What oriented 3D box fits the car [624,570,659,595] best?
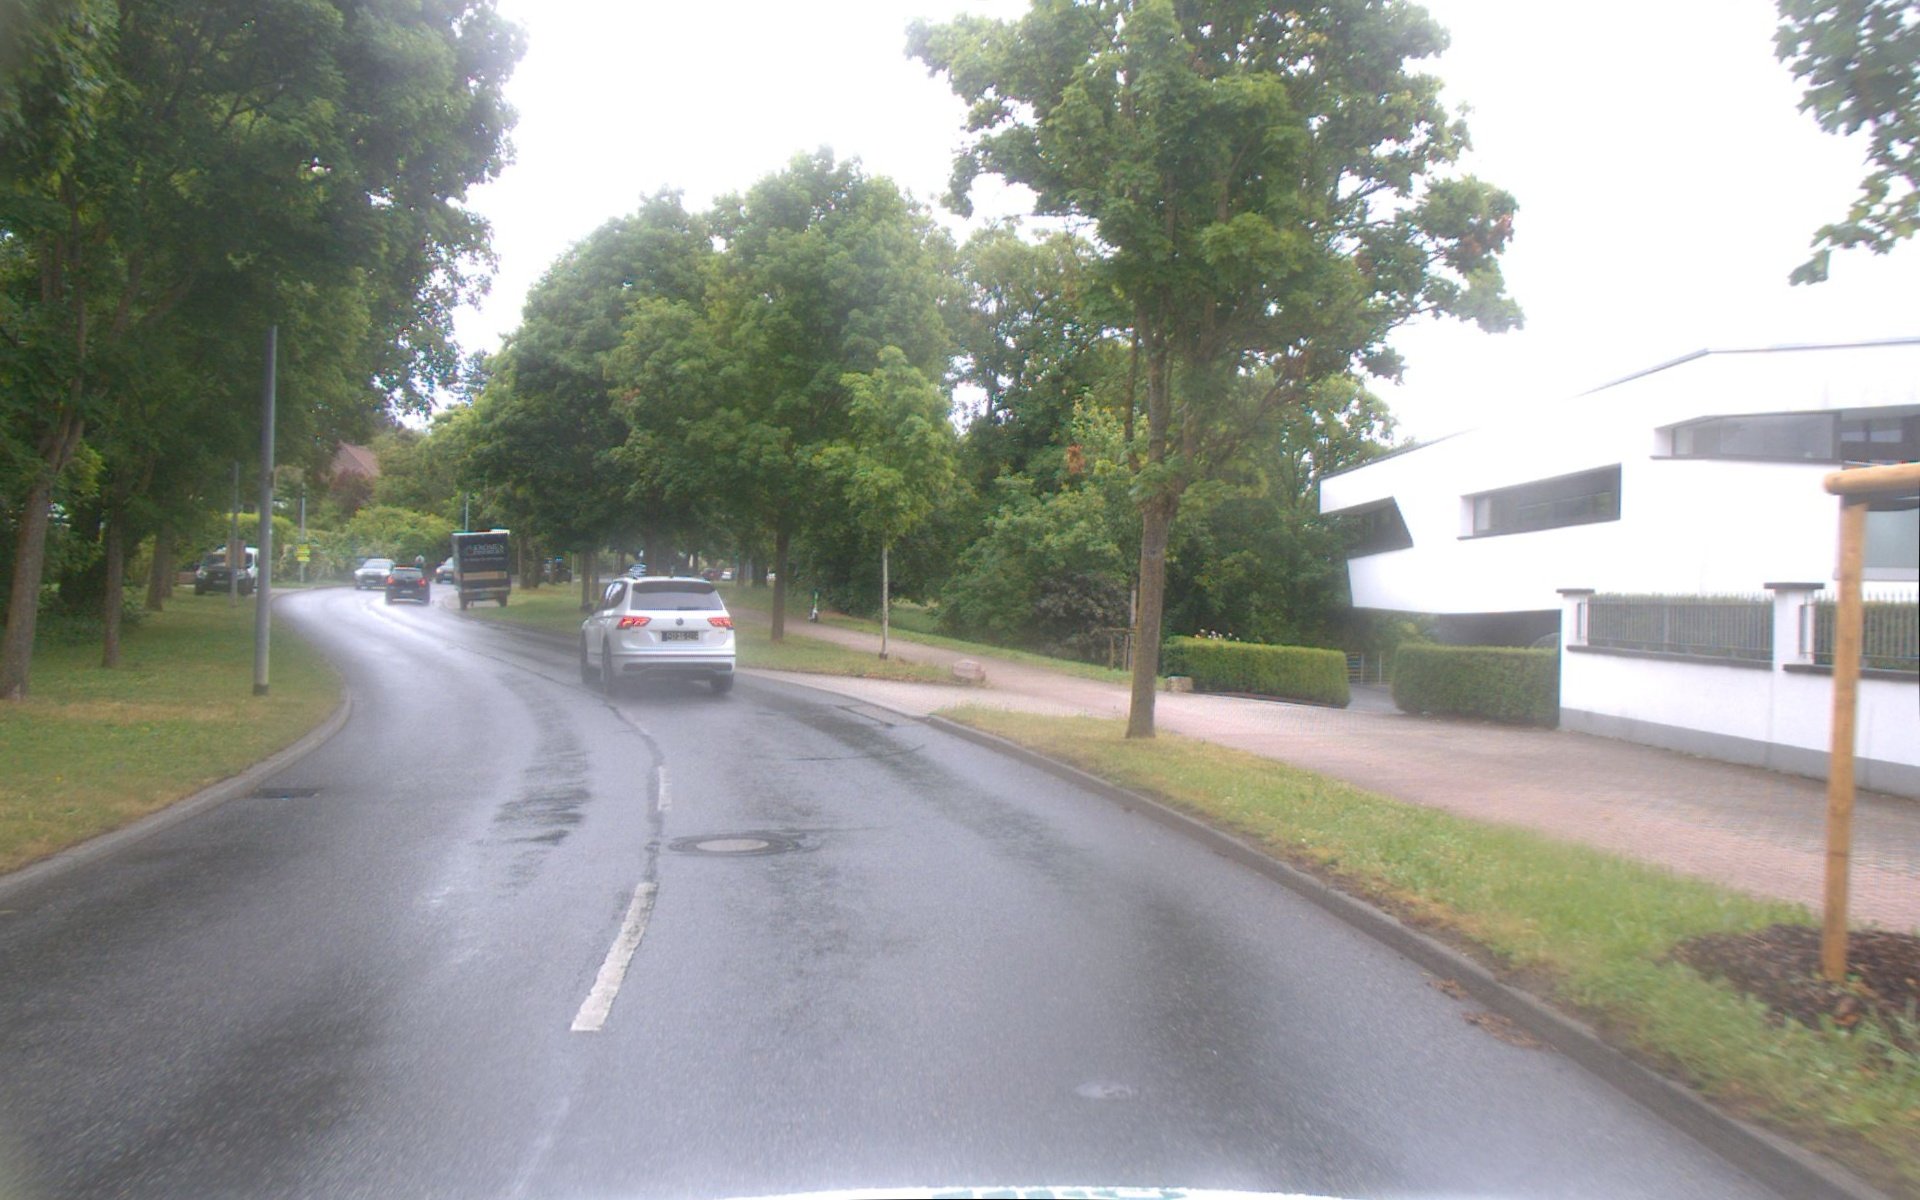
[{"bbox_3d":[-26.182,-1.436,136.105,1.953,1.836,4.000,4,-1,0],"label":"car"}]

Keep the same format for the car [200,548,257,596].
[{"bbox_3d":[-27.837,-1.060,63.040,1.726,1.669,4.561,4,-1,-22],"label":"car"}]

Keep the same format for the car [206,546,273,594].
[{"bbox_3d":[-29.561,-1.231,67.965,1.768,1.827,4.356,3,0,-14],"label":"car"}]

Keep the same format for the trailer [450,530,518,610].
[{"bbox_3d":[-18.503,-1.198,64.118,1.965,2.856,5.574,-4,3,-21],"label":"trailer"}]

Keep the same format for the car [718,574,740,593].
[{"bbox_3d":[-24.782,-1.780,177.511,1.954,1.839,3.997,4,-1,-4],"label":"car"}]

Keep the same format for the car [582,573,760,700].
[{"bbox_3d":[-4.392,0.473,24.606,1.945,1.681,4.153,-1,1,-19],"label":"car"}]

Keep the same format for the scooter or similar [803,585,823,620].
[{"bbox_3d":[-5.110,0.083,57.531,0.456,1.166,1.295,0,1,-17],"label":"scooter or similar"}]

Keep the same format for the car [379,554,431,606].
[{"bbox_3d":[-23.601,-0.839,70.233,1.873,2.049,3.921,4,-1,-20],"label":"car"}]

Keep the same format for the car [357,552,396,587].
[{"bbox_3d":[-29.967,-1.565,84.898,1.763,1.563,4.069,4,1,-20],"label":"car"}]
